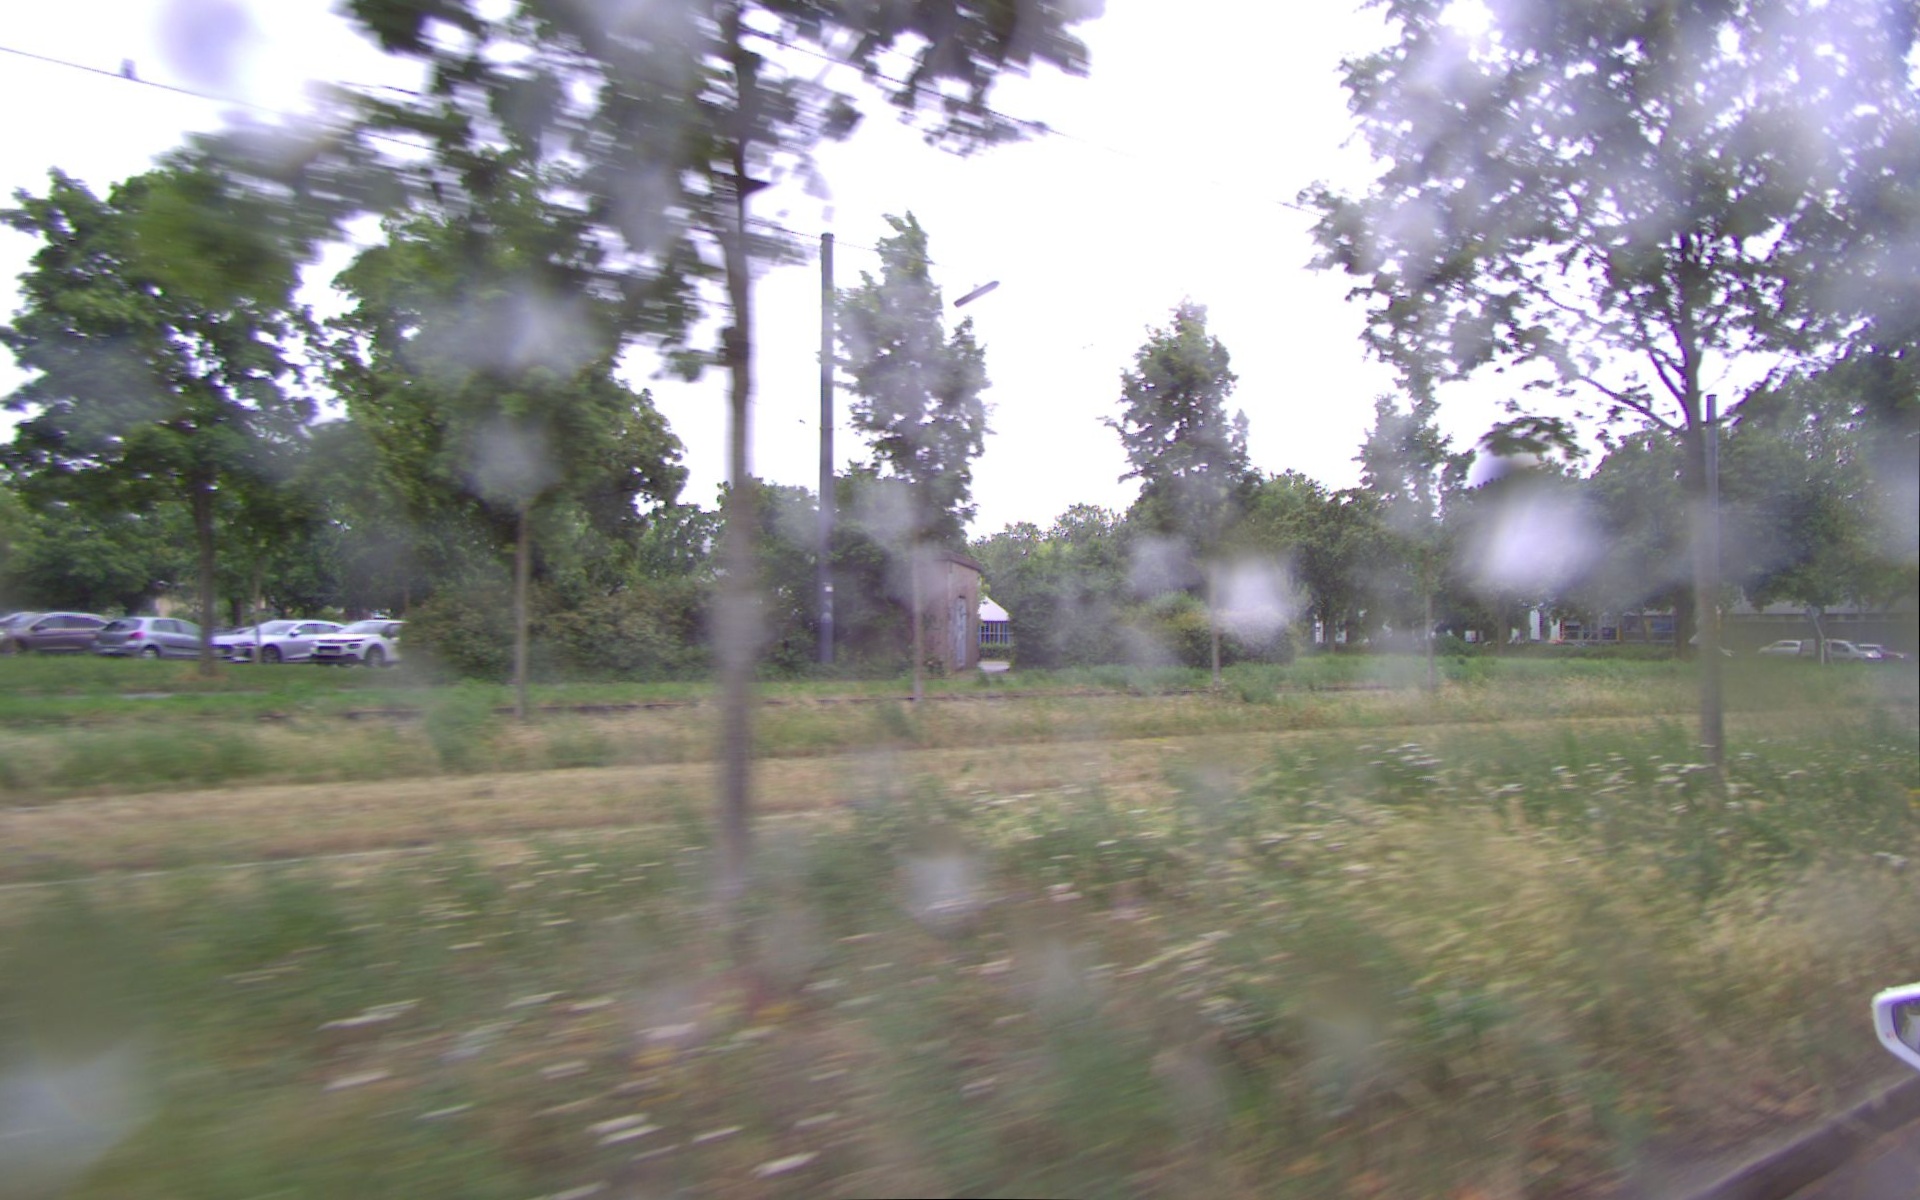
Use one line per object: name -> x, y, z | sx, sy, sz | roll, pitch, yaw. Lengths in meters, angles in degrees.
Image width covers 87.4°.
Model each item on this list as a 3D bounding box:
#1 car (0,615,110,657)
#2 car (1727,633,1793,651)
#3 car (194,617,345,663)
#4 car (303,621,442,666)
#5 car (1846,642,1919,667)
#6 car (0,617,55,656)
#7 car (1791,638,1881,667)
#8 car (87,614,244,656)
car -> -29.246, 1.140, 31.532 | 1.631, 1.265, 3.745 | 0, -2, 9
car -> 64.871, 3.406, 81.507 | 1.519, 1.438, 3.972 | 1, -2, -28
car -> -20.490, 1.192, 30.002 | 1.632, 1.265, 3.745 | 0, -2, 6
car -> -17.374, 1.294, 29.938 | 1.632, 1.265, 3.745 | 0, -2, 6
car -> 61.677, 3.590, 66.748 | 1.632, 1.518, 3.891 | 0, -2, -29
car -> -31.665, 1.163, 32.188 | 1.631, 1.265, 3.745 | 0, -2, 9
car -> 58.091, 3.454, 66.690 | 1.631, 1.820, 4.194 | 0, -2, -27
car -> -25.013, 1.121, 31.793 | 1.631, 1.265, 3.745 | 0, -2, 9
